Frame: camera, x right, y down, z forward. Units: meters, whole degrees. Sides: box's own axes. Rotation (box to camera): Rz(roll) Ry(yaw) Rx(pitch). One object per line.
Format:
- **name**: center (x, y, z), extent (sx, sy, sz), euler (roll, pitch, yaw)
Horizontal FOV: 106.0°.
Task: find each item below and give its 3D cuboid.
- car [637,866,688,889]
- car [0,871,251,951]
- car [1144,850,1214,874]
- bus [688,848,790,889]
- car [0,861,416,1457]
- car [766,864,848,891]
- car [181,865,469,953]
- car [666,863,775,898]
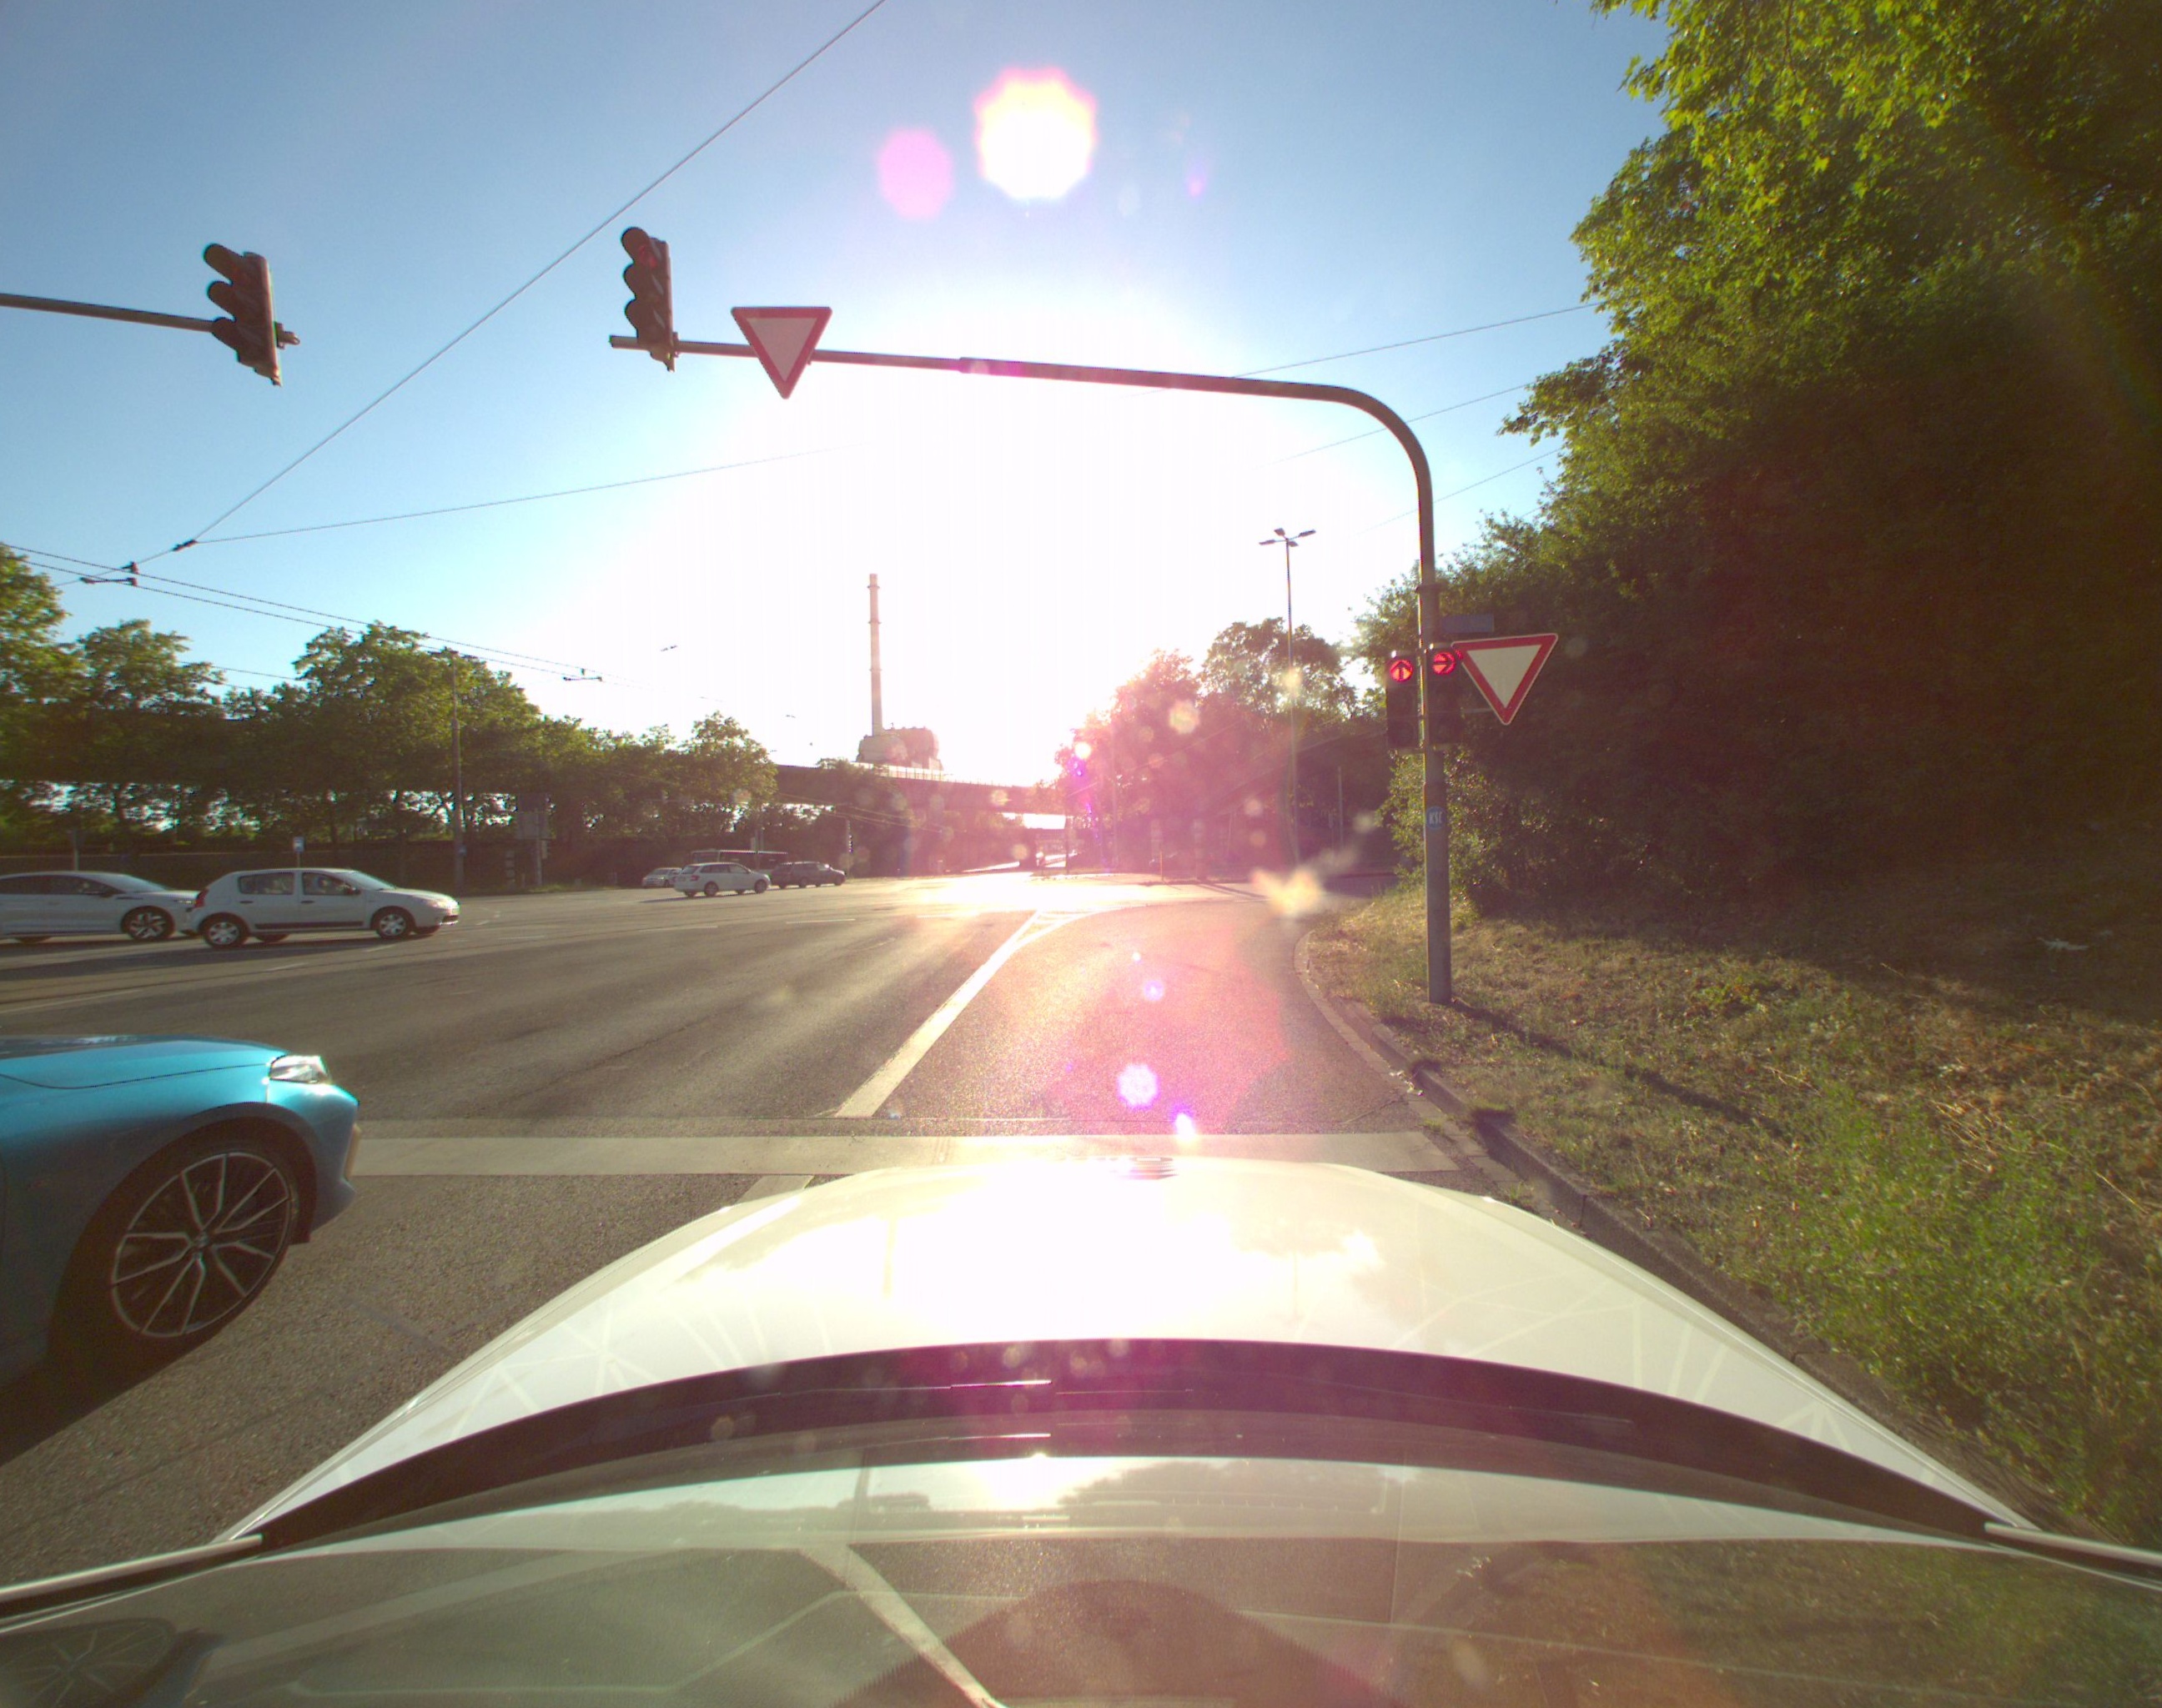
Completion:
- **car**: center (-30.193, 1.689, 58.828), extent (1.601, 1.512, 4.007), euler (-1, 0, 0)
- **car**: center (-22.670, 1.255, 18.273), extent (5.371, 1.575, 1.728), euler (-1, 0, -22)
- **car**: center (6.836, 0.523, 57.088), extent (4.585, 1.575, 1.685), euler (-1, 0, -16)
- **bus**: center (-29.392, 1.291, 70.979), extent (2.532, 3.130, 12.931), euler (-2, -1, 4)
- **car**: center (-3.546, 0.797, 1.186), extent (1.709, 1.465, 4.205), euler (-2, 0, -1)
- **car**: center (-15.453, 1.288, 46.141), extent (1.649, 1.405, 4.472), euler (-1, 0, 27)
- **car**: center (-15.452, 1.064, 16.923), extent (4.001, 1.575, 1.682), euler (-1, 0, -20)
- **car**: center (-16.016, 1.148, 36.378), extent (1.649, 1.405, 4.223), euler (-1, 0, 32)
